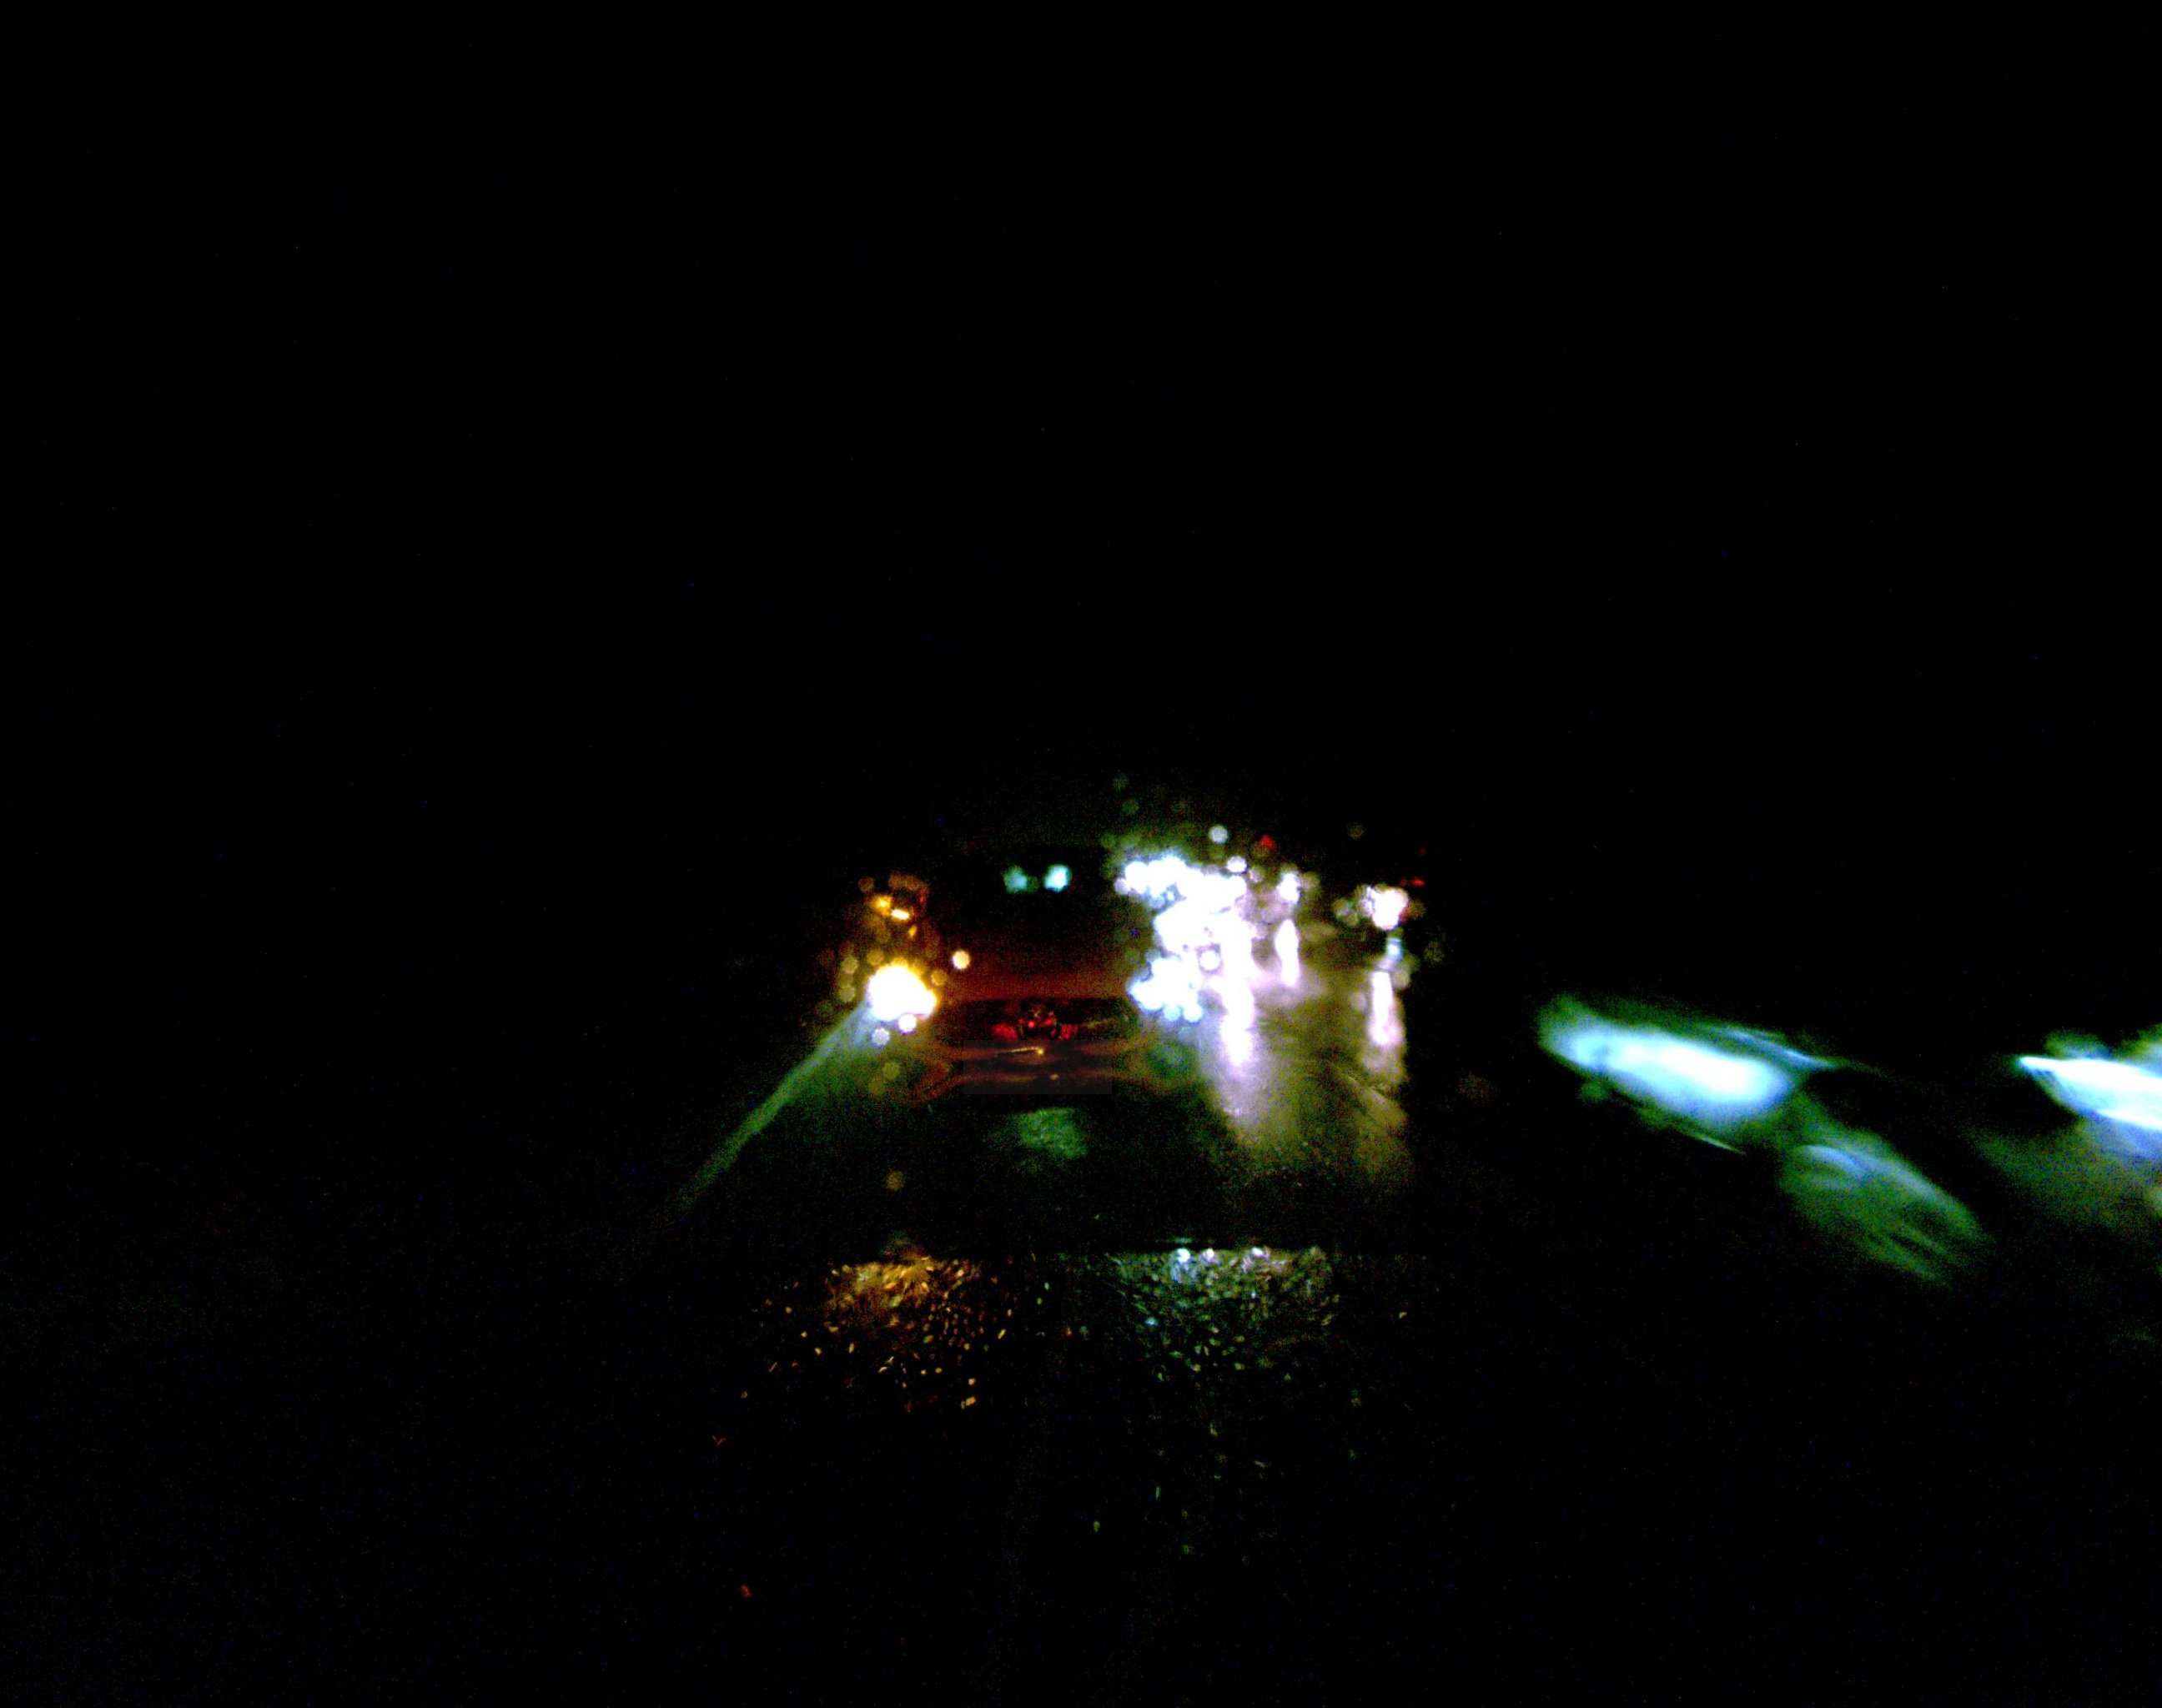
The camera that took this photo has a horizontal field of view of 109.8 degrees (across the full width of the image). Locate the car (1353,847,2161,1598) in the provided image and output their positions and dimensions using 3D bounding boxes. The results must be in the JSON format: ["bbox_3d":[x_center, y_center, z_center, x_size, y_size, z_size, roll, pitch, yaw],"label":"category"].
[{"bbox_3d":[3.060,0.787,3.392,1.856,1.582,4.020,-2,1,-7],"label":"car"}]

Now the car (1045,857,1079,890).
[{"bbox_3d":[-1.099,1.039,41.446,1.656,1.624,3.948,-2,0,-4],"label":"car"}]

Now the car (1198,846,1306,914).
[{"bbox_3d":[4.982,0.679,22.862,1.999,1.783,4.720,-2,1,-2],"label":"car"}]

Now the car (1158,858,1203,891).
[{"bbox_3d":[4.912,0.978,38.008,1.680,1.437,4.174,-2,1,0],"label":"car"}]

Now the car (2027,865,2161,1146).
[{"bbox_3d":[6.644,0.797,2.423,1.742,1.428,4.287,-2,1,-6],"label":"car"}]

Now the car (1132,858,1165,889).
[{"bbox_3d":[4.385,1.247,49.907,1.746,1.791,4.080,-2,1,-1],"label":"car"}]

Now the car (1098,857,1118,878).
[{"bbox_3d":[2.526,1.289,72.089,1.781,1.820,4.557,-2,1,1],"label":"car"}]

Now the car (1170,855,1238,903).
[{"bbox_3d":[4.658,0.902,29.409,1.788,1.586,4.236,-1,1,-2],"label":"car"}]

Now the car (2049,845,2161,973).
[{"bbox_3d":[16.949,0.818,10.397,1.999,1.824,4.205,-2,1,-3],"label":"car"}]

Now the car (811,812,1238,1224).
[{"bbox_3d":[-0.393,0.755,5.856,2.004,1.914,4.367,-2,1,-4],"label":"car"}]

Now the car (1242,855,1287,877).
[{"bbox_3d":[12.804,0.802,53.260,1.741,1.428,4.470,-2,1,-4],"label":"car"}]

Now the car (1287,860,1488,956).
[{"bbox_3d":[5.233,0.851,13.645,1.835,1.399,4.121,-2,-1,-2],"label":"car"}]
